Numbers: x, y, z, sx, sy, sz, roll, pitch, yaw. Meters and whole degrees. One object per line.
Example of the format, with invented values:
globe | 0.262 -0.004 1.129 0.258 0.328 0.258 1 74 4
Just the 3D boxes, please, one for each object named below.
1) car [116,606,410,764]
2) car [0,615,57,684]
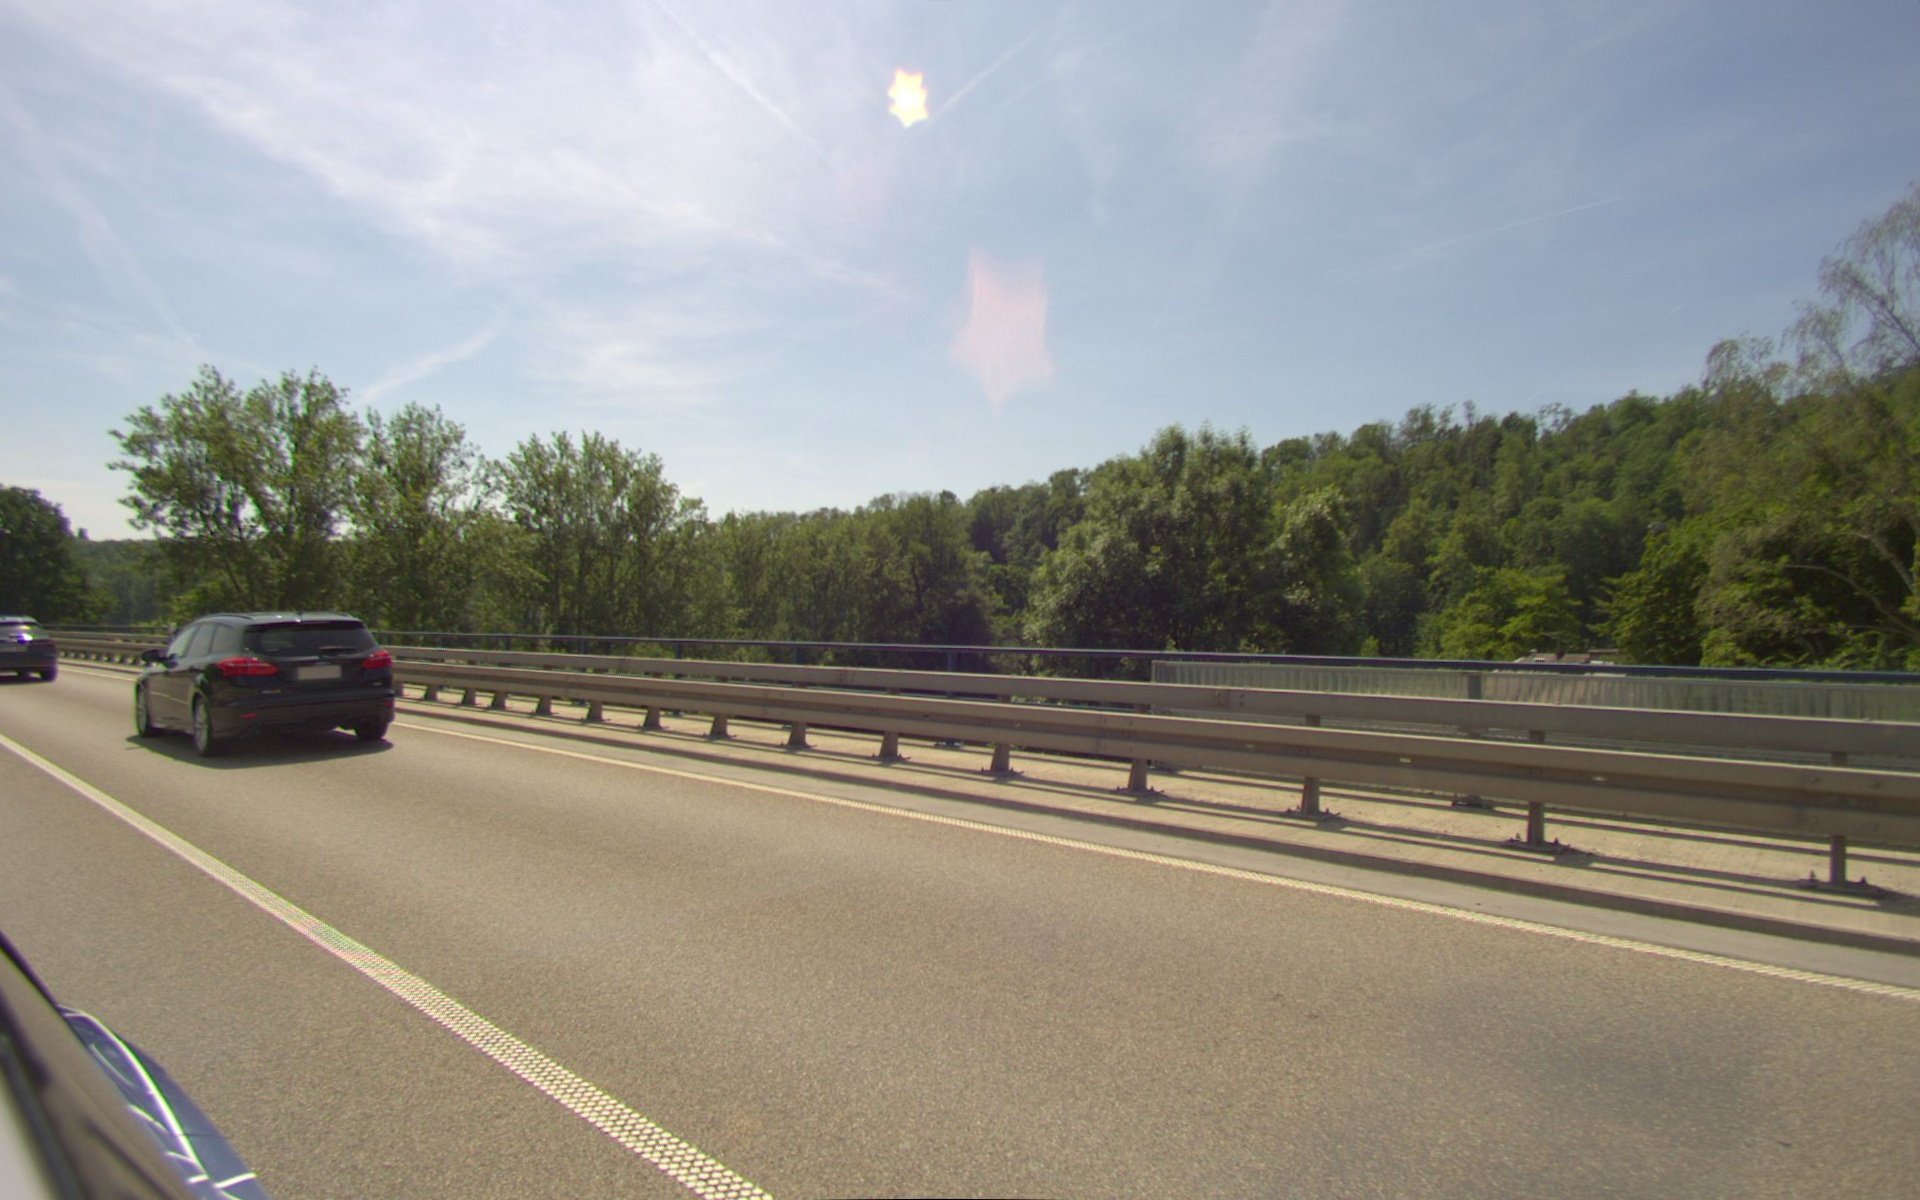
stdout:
car | -8.254 0.851 11.803 4.566 1.494 1.703 -1 -1 40
car | -21.984 1.084 22.849 4.612 1.446 1.704 -1 -1 39
